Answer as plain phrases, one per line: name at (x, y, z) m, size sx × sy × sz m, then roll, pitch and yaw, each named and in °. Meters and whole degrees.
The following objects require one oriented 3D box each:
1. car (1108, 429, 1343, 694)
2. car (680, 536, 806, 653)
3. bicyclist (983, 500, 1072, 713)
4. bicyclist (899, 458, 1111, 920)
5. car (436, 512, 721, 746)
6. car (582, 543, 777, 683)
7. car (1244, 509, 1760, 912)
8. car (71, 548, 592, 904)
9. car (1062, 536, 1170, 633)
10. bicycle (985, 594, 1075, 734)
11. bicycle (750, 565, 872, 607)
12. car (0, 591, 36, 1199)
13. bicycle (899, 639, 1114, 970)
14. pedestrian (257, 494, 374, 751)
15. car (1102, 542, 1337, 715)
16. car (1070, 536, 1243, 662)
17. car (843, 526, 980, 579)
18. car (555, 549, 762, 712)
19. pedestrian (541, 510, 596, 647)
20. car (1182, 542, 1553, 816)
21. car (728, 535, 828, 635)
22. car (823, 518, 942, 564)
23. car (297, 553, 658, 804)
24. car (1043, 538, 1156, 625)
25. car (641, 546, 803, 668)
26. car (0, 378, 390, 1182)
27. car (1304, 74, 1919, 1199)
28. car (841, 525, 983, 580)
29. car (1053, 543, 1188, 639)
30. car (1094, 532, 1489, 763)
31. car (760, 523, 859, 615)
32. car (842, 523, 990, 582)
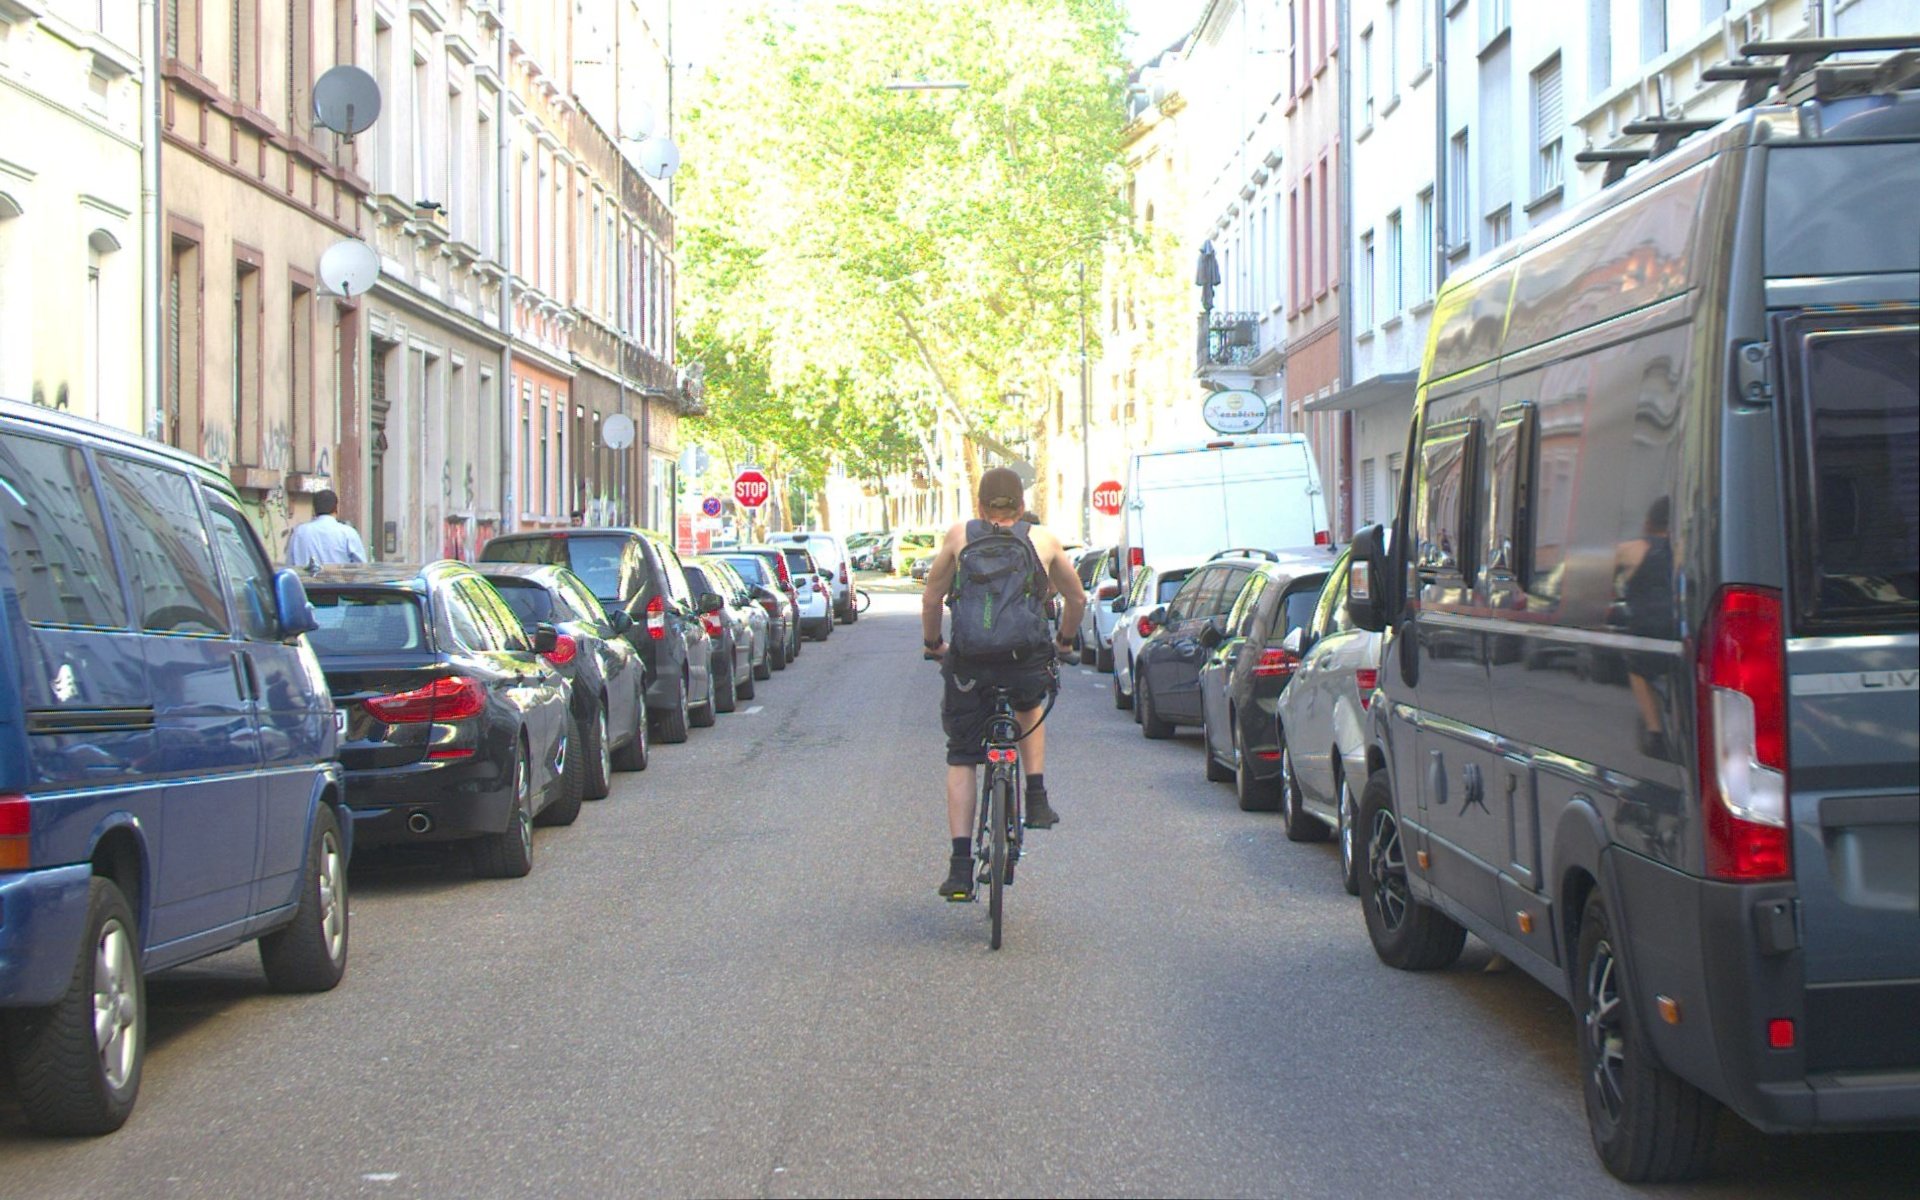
car at (2.712, -0.435, 36.441) m, size 2.204 × 2.542 × 6.036 m, roll -1°, pitch 1°, yaw 2°
car at (-3.001, -0.104, 48.075) m, size 1.604 × 1.525 × 3.379 m, roll -2°, pitch 1°, yaw -2°
bicyclist at (0.528, 0.043, 27.289) m, size 0.670 × 1.653 × 0.877 m, roll -1°, pitch 1°, yaw 0°
bicyclist at (0.161, 0.316, 13.103) m, size 0.740 × 1.673 × 1.116 m, roll 1°, pitch 1°, yaw 0°
car at (-3.034, 0.185, 28.101) m, size 1.801 × 1.692 × 4.000 m, roll -3°, pitch 1°, yaw 0°
car at (-3.049, 0.103, 38.057) m, size 1.674 × 1.425 × 3.888 m, roll -1°, pitch 1°, yaw 2°
car at (2.426, 0.414, 16.423) m, size 1.693 × 1.602 × 4.375 m, roll -2°, pitch 1°, yaw 0°
car at (-2.943, 0.504, 17.082) m, size 1.862 × 1.435 × 4.646 m, roll -1°, pitch 2°, yaw -2°
car at (2.498, -0.275, 55.778) m, size 1.592 × 1.487 × 3.876 m, roll -1°, pitch 1°, yaw 0°
bicycle at (0.546, 0.491, 27.414) m, size 0.664 × 1.034 × 1.959 m, roll -1°, pitch 1°, yaw 0°
bicycle at (-3.343, -0.321, 77.136) m, size 2.715 × 0.889 × 0.619 m, roll -1°, pitch 1°, yaw -2°
car at (-2.858, 0.751, 5.794) m, size 1.645 × 1.442 × 3.840 m, roll -1°, pitch 1°, yaw -2°
bicycle at (0.158, 0.735, 13.178) m, size 0.740 × 1.097 × 2.042 m, roll 1°, pitch 1°, yaw 0°
pedestrian at (-4.652, 0.155, 24.831) m, size 0.651 × 1.811 × 0.754 m, roll 2°, pitch 1°, yaw 1°
car at (2.274, 0.213, 31.012) m, size 1.725 × 1.424 × 3.833 m, roll -1°, pitch 1°, yaw -1°
car at (2.408, -0.046, 42.982) m, size 1.731 × 1.465 × 4.022 m, roll -1°, pitch 1°, yaw -3°
car at (-1.650, -1.599, 115.448) m, size 4.468 × 1.690 × 1.867 m, roll -1°, pitch 1°, yaw -4°
car at (-2.845, 0.250, 33.080) m, size 1.592 × 1.435 × 3.654 m, roll -1°, pitch 1°, yaw 1°
pedestrian at (-5.355, -0.297, 47.051) m, size 0.610 × 1.851 × 0.754 m, roll 2°, pitch 1°, yaw 0°
car at (2.397, 0.402, 21.176) m, size 1.746 × 1.480 × 4.243 m, roll -1°, pitch 1°, yaw 0°
car at (-2.935, -0.266, 55.449) m, size 1.544 × 1.545 × 3.466 m, roll -1°, pitch 1°, yaw -3°
car at (-3.000, -2.255, 131.999) m, size 4.468 × 1.690 × 1.867 m, roll -1°, pitch 1°, yaw -4°
car at (-3.001, 0.433, 22.144) m, size 1.736 × 1.422 × 4.000 m, roll -1°, pitch 1°, yaw 0°
car at (2.459, -0.362, 61.235) m, size 1.710 × 1.465 × 4.000 m, roll -1°, pitch 1°, yaw -2°
car at (-2.938, 0.047, 43.116) m, size 1.706 × 1.409 × 4.302 m, roll -1°, pitch 1°, yaw 0°
car at (-3.069, 0.421, 10.386) m, size 1.827 × 1.885 × 4.614 m, roll -3°, pitch 1°, yaw 0°
car at (2.458, 0.092, 9.938) m, size 2.175 × 2.417 × 6.310 m, roll -2°, pitch 1°, yaw 0°
car at (-1.580, -1.543, 111.756) m, size 4.468 × 1.690 × 1.867 m, roll -1°, pitch 1°, yaw -4°
car at (2.329, -0.161, 50.688) m, size 1.657 × 1.334 × 4.000 m, roll -1°, pitch 1°, yaw -2°
car at (2.416, 0.283, 26.334) m, size 1.811 × 1.473 × 4.609 m, roll -4°, pitch 2°, yaw -9°
car at (-2.938, -0.640, 67.648) m, size 1.787 × 1.731 × 3.876 m, roll -1°, pitch 1°, yaw 0°
car at (-1.382, -1.489, 107.087) m, size 4.468 × 1.753 × 1.867 m, roll -1°, pitch 1°, yaw -4°
